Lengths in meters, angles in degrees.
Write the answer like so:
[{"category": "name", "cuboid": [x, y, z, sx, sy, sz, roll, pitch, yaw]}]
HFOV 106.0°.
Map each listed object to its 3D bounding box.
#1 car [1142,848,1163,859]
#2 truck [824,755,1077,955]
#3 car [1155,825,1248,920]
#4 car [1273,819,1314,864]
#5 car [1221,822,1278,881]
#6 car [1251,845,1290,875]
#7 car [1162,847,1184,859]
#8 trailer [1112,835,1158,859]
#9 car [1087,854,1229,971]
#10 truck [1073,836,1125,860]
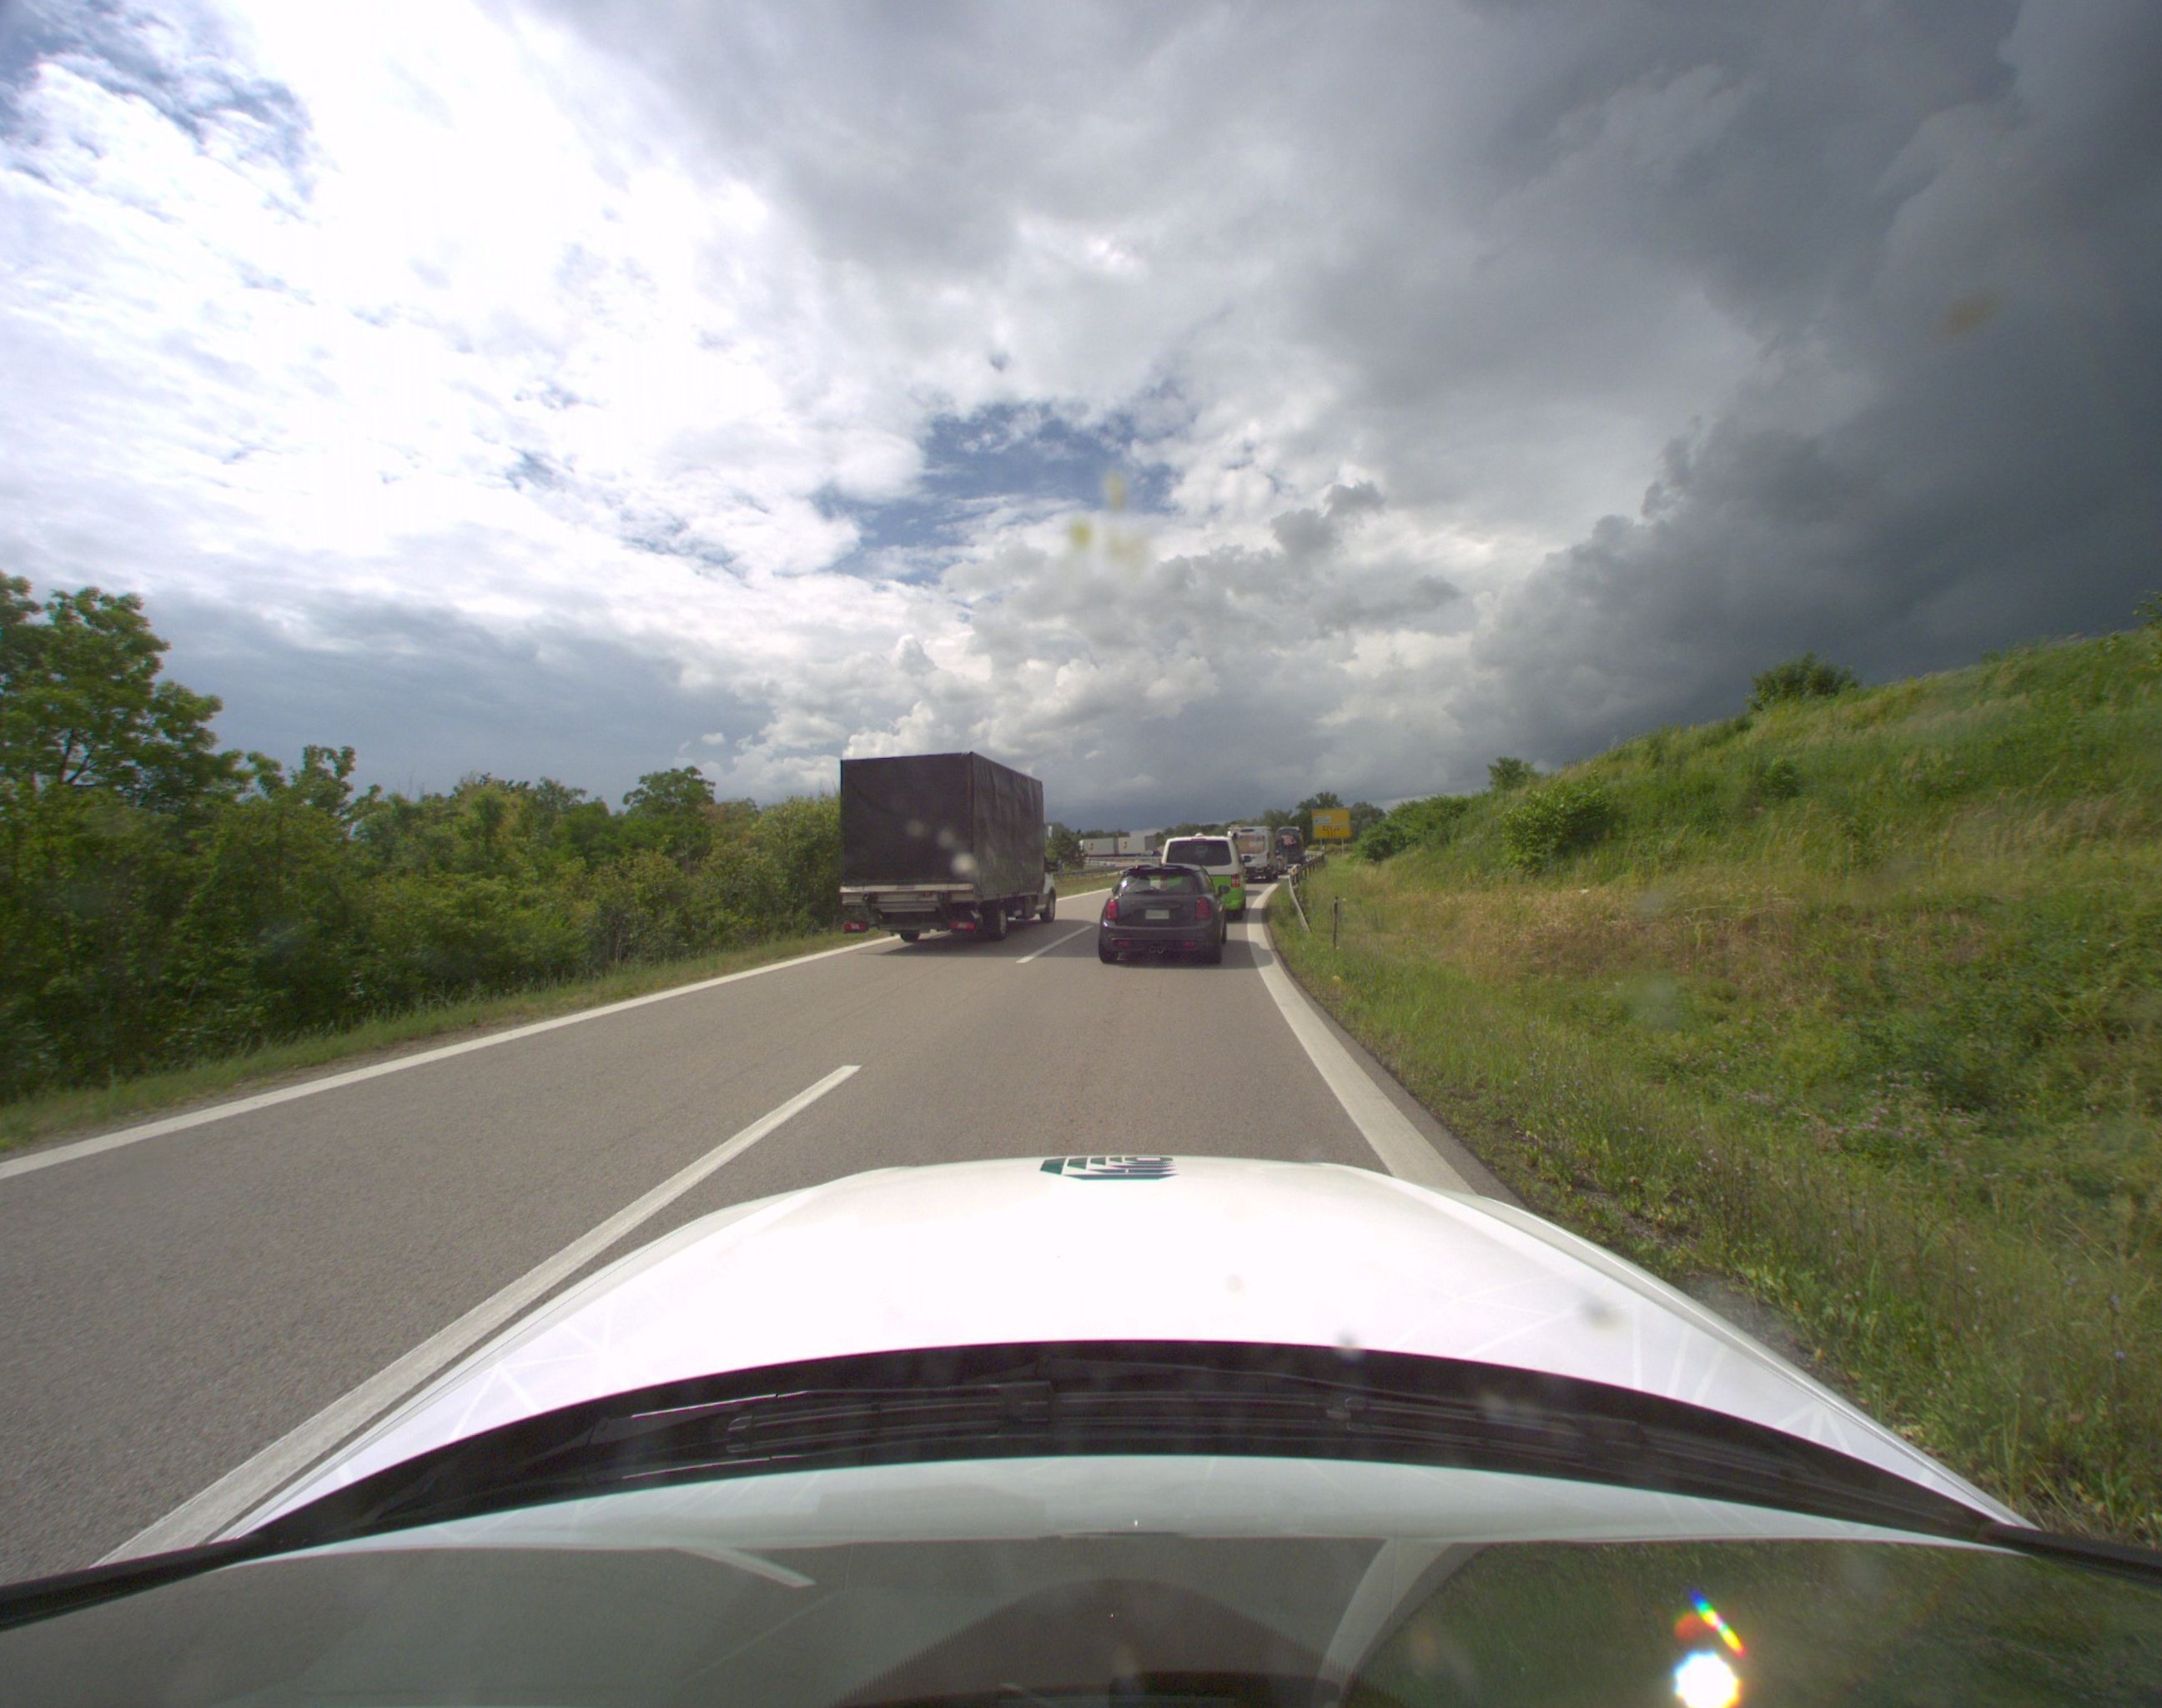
[{"category": "car", "cuboid": [11.495, -0.048, 130.889, 1.818, 1.756, 3.974, 0, -1, -19]}, {"category": "truck", "cuboid": [-2.162, 0.066, 16.774, 2.543, 3.168, 7.493, -1, -1, 12]}, {"category": "car", "cuboid": [3.046, 0.417, 19.855, 1.898, 2.045, 4.195, -1, -1, 13]}, {"category": "car", "cuboid": [15.436, -0.813, 58.963, 2.292, 3.069, 6.694, -1, -1, 19]}, {"category": "car", "cuboid": [8.100, -0.067, 38.819, 2.195, 2.622, 5.558, -1, -1, 16]}, {"category": "car", "cuboid": [10.985, 0.338, 47.078, 1.978, 1.642, 3.945, -1, -1, 16]}, {"category": "car", "cuboid": [14.941, -0.145, 132.488, 1.927, 1.838, 4.289, 0, -1, -19]}, {"category": "trailer", "cuboid": [9.195, -1.191, 139.084, 3.058, 3.898, 8.678, 0, -1, -35]}, {"category": "car", "cuboid": [1.356, 0.785, 12.749, 1.788, 1.546, 3.750, -1, 0, 12]}, {"category": "truck", "cuboid": [3.137, -1.029, 145.912, 9.903, 3.976, 2.862, -1, -1, 43]}]
